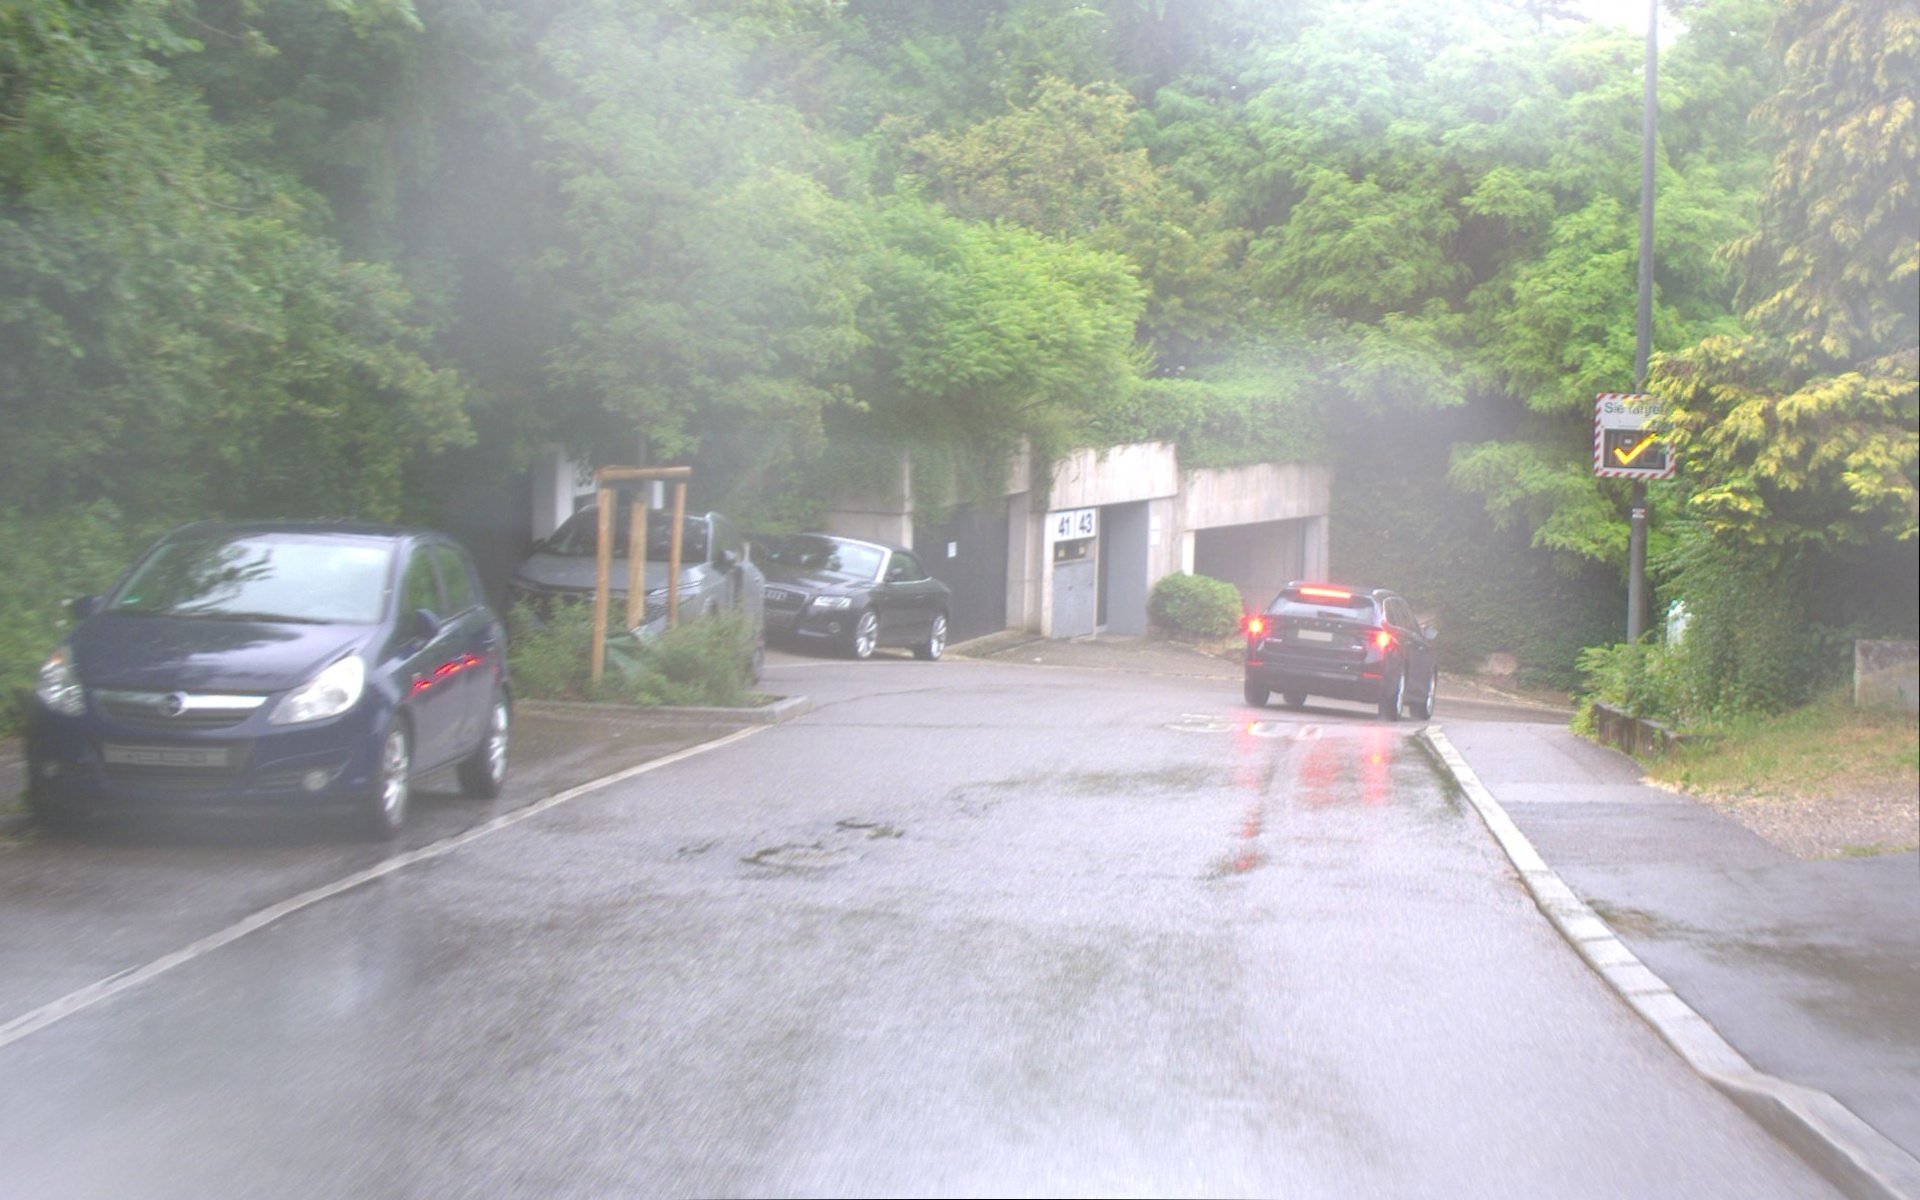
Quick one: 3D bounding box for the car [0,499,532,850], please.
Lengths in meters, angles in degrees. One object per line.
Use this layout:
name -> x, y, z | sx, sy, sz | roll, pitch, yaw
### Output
car -> -3.306, 0.263, 16.936 | 1.700, 1.466, 4.000 | 2, 2, 2

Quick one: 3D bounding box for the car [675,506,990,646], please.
car -> -1.436, -0.287, 40.813 | 1.996, 1.503, 4.565 | 2, 1, 22

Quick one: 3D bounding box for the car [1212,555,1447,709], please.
car -> 4.307, 0.386, 39.528 | 1.870, 1.507, 4.089 | 6, 0, 16

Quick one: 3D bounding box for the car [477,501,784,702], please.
car -> -2.918, -0.022, 31.290 | 1.994, 1.635, 3.999 | 2, 1, 6
